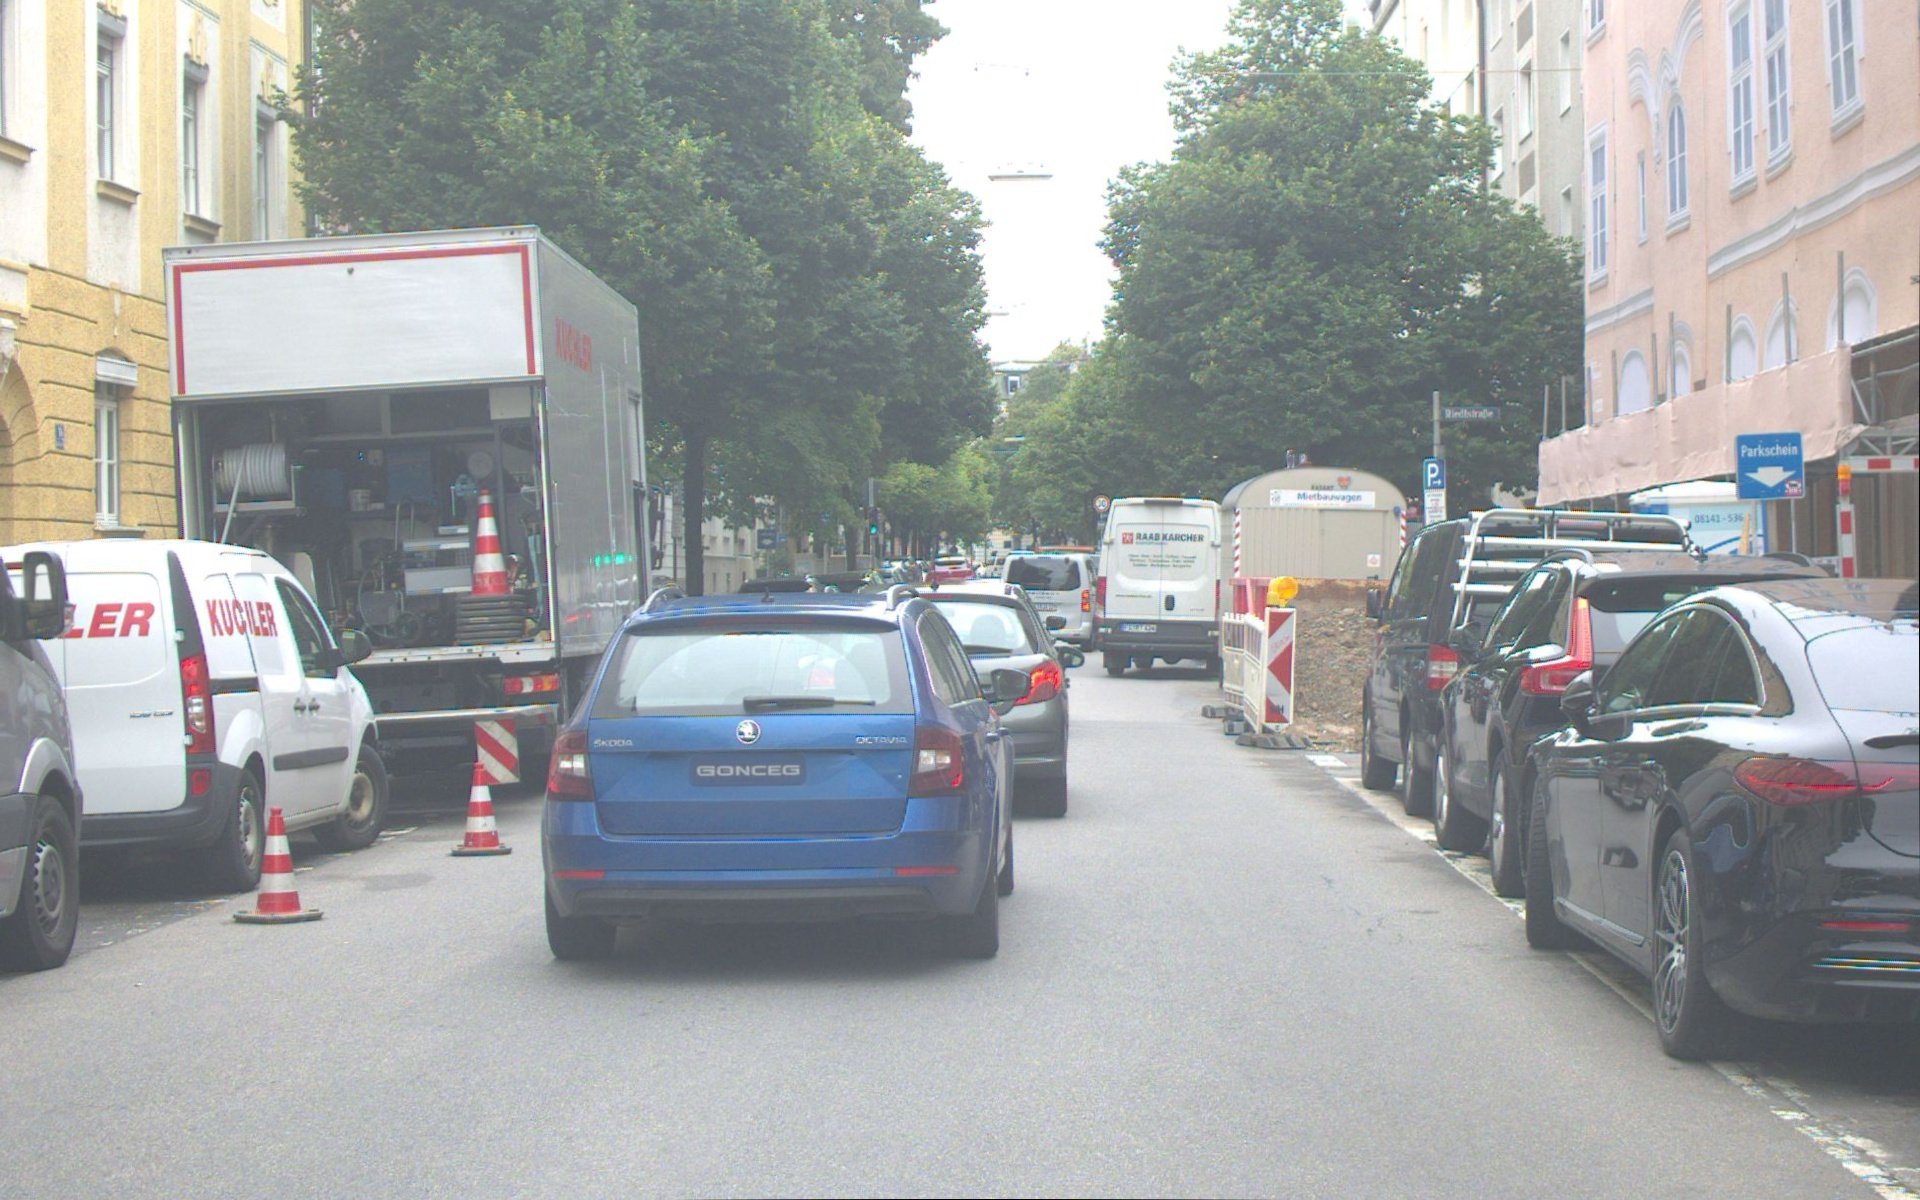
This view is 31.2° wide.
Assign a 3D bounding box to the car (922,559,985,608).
[{"bbox_3d":[-0.208,-0.605,121.127,2.008,1.647,4.347,1,1,2],"label":"car"}]

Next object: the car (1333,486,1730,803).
[{"bbox_3d":[3.786,0.357,23.662,2.082,1.914,5.139,1,-2,3],"label":"car"}]

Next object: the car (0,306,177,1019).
[{"bbox_3d":[-4.542,0.285,11.236,2.056,2.578,6.876,-5,0,1],"label":"car"}]

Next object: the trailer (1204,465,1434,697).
[{"bbox_3d":[4.665,-0.230,45.810,2.502,2.830,6.901,1,0,2],"label":"trailer"}]

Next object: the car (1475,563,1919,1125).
[{"bbox_3d":[3.192,0.650,12.272,1.931,1.548,5.637,0,0,1],"label":"car"}]

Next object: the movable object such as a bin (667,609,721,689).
[{"bbox_3d":[-3.948,0.727,51.017,0.721,1.134,0.658,-3,1,-2],"label":"movable object such as a bin"}]

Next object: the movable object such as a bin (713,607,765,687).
[{"bbox_3d":[-3.280,0.699,51.051,0.711,1.144,0.636,-2,1,-2],"label":"movable object such as a bin"}]

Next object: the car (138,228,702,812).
[{"bbox_3d":[-3.885,-0.538,26.988,2.812,3.804,8.723,-1,0,1],"label":"car"}]

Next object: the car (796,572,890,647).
[{"bbox_3d":[-2.371,0.173,70.496,1.812,1.473,4.000,0,1,0],"label":"car"}]

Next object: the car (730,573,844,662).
[{"bbox_3d":[-2.976,0.285,59.779,1.812,1.473,4.000,0,1,0],"label":"car"}]

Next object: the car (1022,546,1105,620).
[{"bbox_3d":[2.406,-0.416,80.045,1.867,1.647,4.347,1,1,2],"label":"car"}]

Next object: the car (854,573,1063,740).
[{"bbox_3d":[0.016,0.492,33.232,1.867,1.449,4.347,1,1,1],"label":"car"}]

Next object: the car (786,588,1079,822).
[{"bbox_3d":[-0.106,0.638,22.779,1.741,1.417,3.663,0,0,3],"label":"car"}]

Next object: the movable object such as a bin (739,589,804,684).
[{"bbox_3d":[-2.845,0.540,51.952,0.918,1.372,1.080,-2,1,-2],"label":"movable object such as a bin"}]

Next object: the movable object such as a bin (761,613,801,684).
[{"bbox_3d":[-2.660,0.714,51.093,0.546,1.017,0.636,-2,1,-2],"label":"movable object such as a bin"}]

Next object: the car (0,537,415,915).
[{"bbox_3d":[-4.306,0.607,18.656,1.763,1.773,4.326,-2,0,3],"label":"car"}]

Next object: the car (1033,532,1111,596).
[{"bbox_3d":[3.011,-0.975,91.838,2.008,1.647,4.347,1,1,2],"label":"car"}]

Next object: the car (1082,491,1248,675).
[{"bbox_3d":[3.219,-0.242,52.955,2.113,2.654,5.498,1,0,8],"label":"car"}]

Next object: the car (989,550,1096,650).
[{"bbox_3d":[1.641,-0.036,67.159,1.868,1.863,4.347,1,1,4],"label":"car"}]

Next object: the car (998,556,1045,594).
[{"bbox_3d":[2.767,-1.156,154.582,2.008,1.647,4.347,1,1,2],"label":"car"}]

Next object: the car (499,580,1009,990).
[{"bbox_3d":[-0.712,0.660,14.538,1.789,1.455,4.314,-1,0,1],"label":"car"}]

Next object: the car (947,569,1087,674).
[{"bbox_3d":[0.831,0.269,48.382,1.867,1.343,4.347,1,1,2],"label":"car"}]

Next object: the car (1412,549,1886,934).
[{"bbox_3d":[3.412,0.643,17.792,1.694,1.671,4.407,3,0,3],"label":"car"}]
